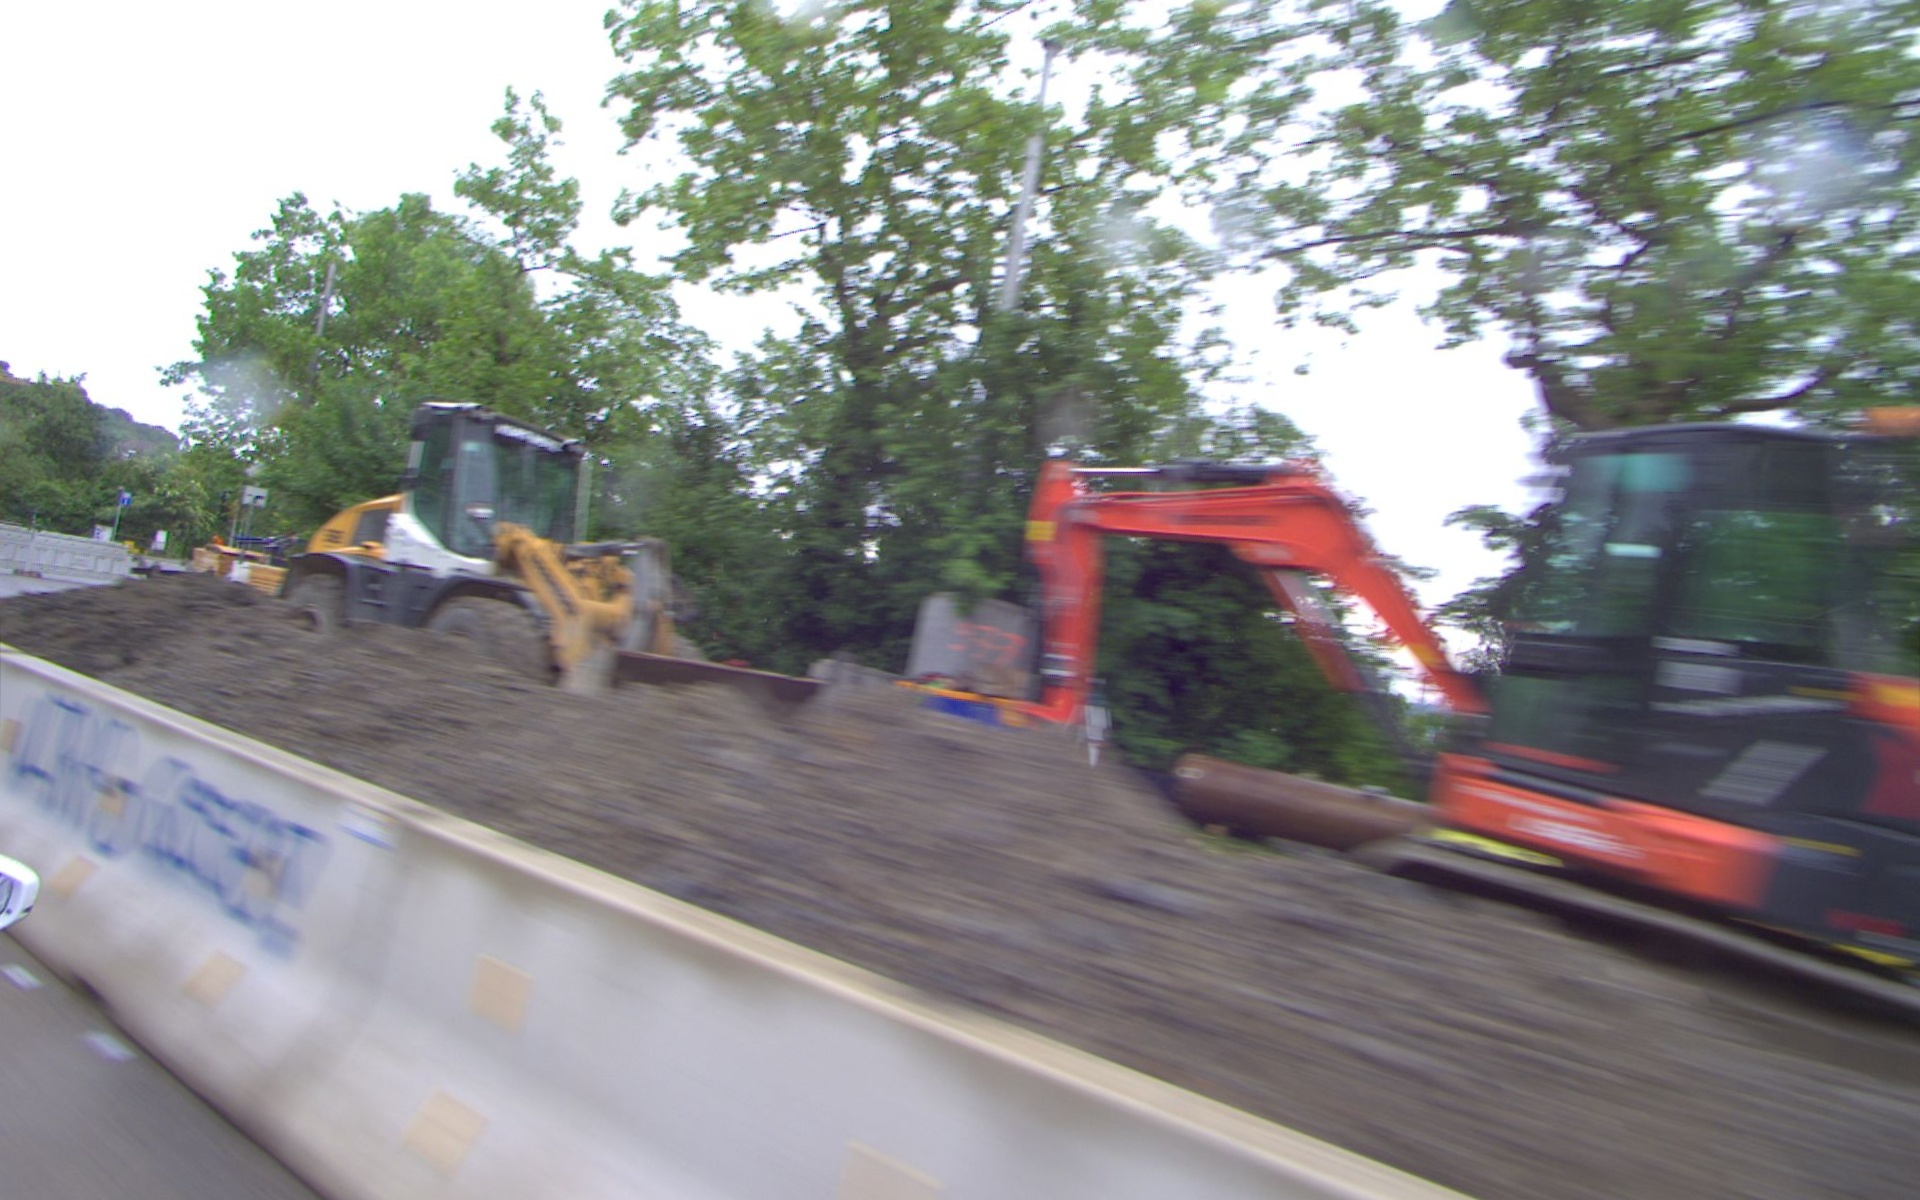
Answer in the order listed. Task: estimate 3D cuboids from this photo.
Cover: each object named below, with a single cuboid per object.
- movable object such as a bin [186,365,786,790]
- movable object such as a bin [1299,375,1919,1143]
[{"bbox_3d":[-4.802,-0.208,9.922,5.500,3.106,2.501,6,-6,35],"label":"movable object such as a bin"},{"bbox_3d":[3.531,0.639,4.556,3.124,2.627,2.103,6,-5,32],"label":"movable object such as a bin"}]
